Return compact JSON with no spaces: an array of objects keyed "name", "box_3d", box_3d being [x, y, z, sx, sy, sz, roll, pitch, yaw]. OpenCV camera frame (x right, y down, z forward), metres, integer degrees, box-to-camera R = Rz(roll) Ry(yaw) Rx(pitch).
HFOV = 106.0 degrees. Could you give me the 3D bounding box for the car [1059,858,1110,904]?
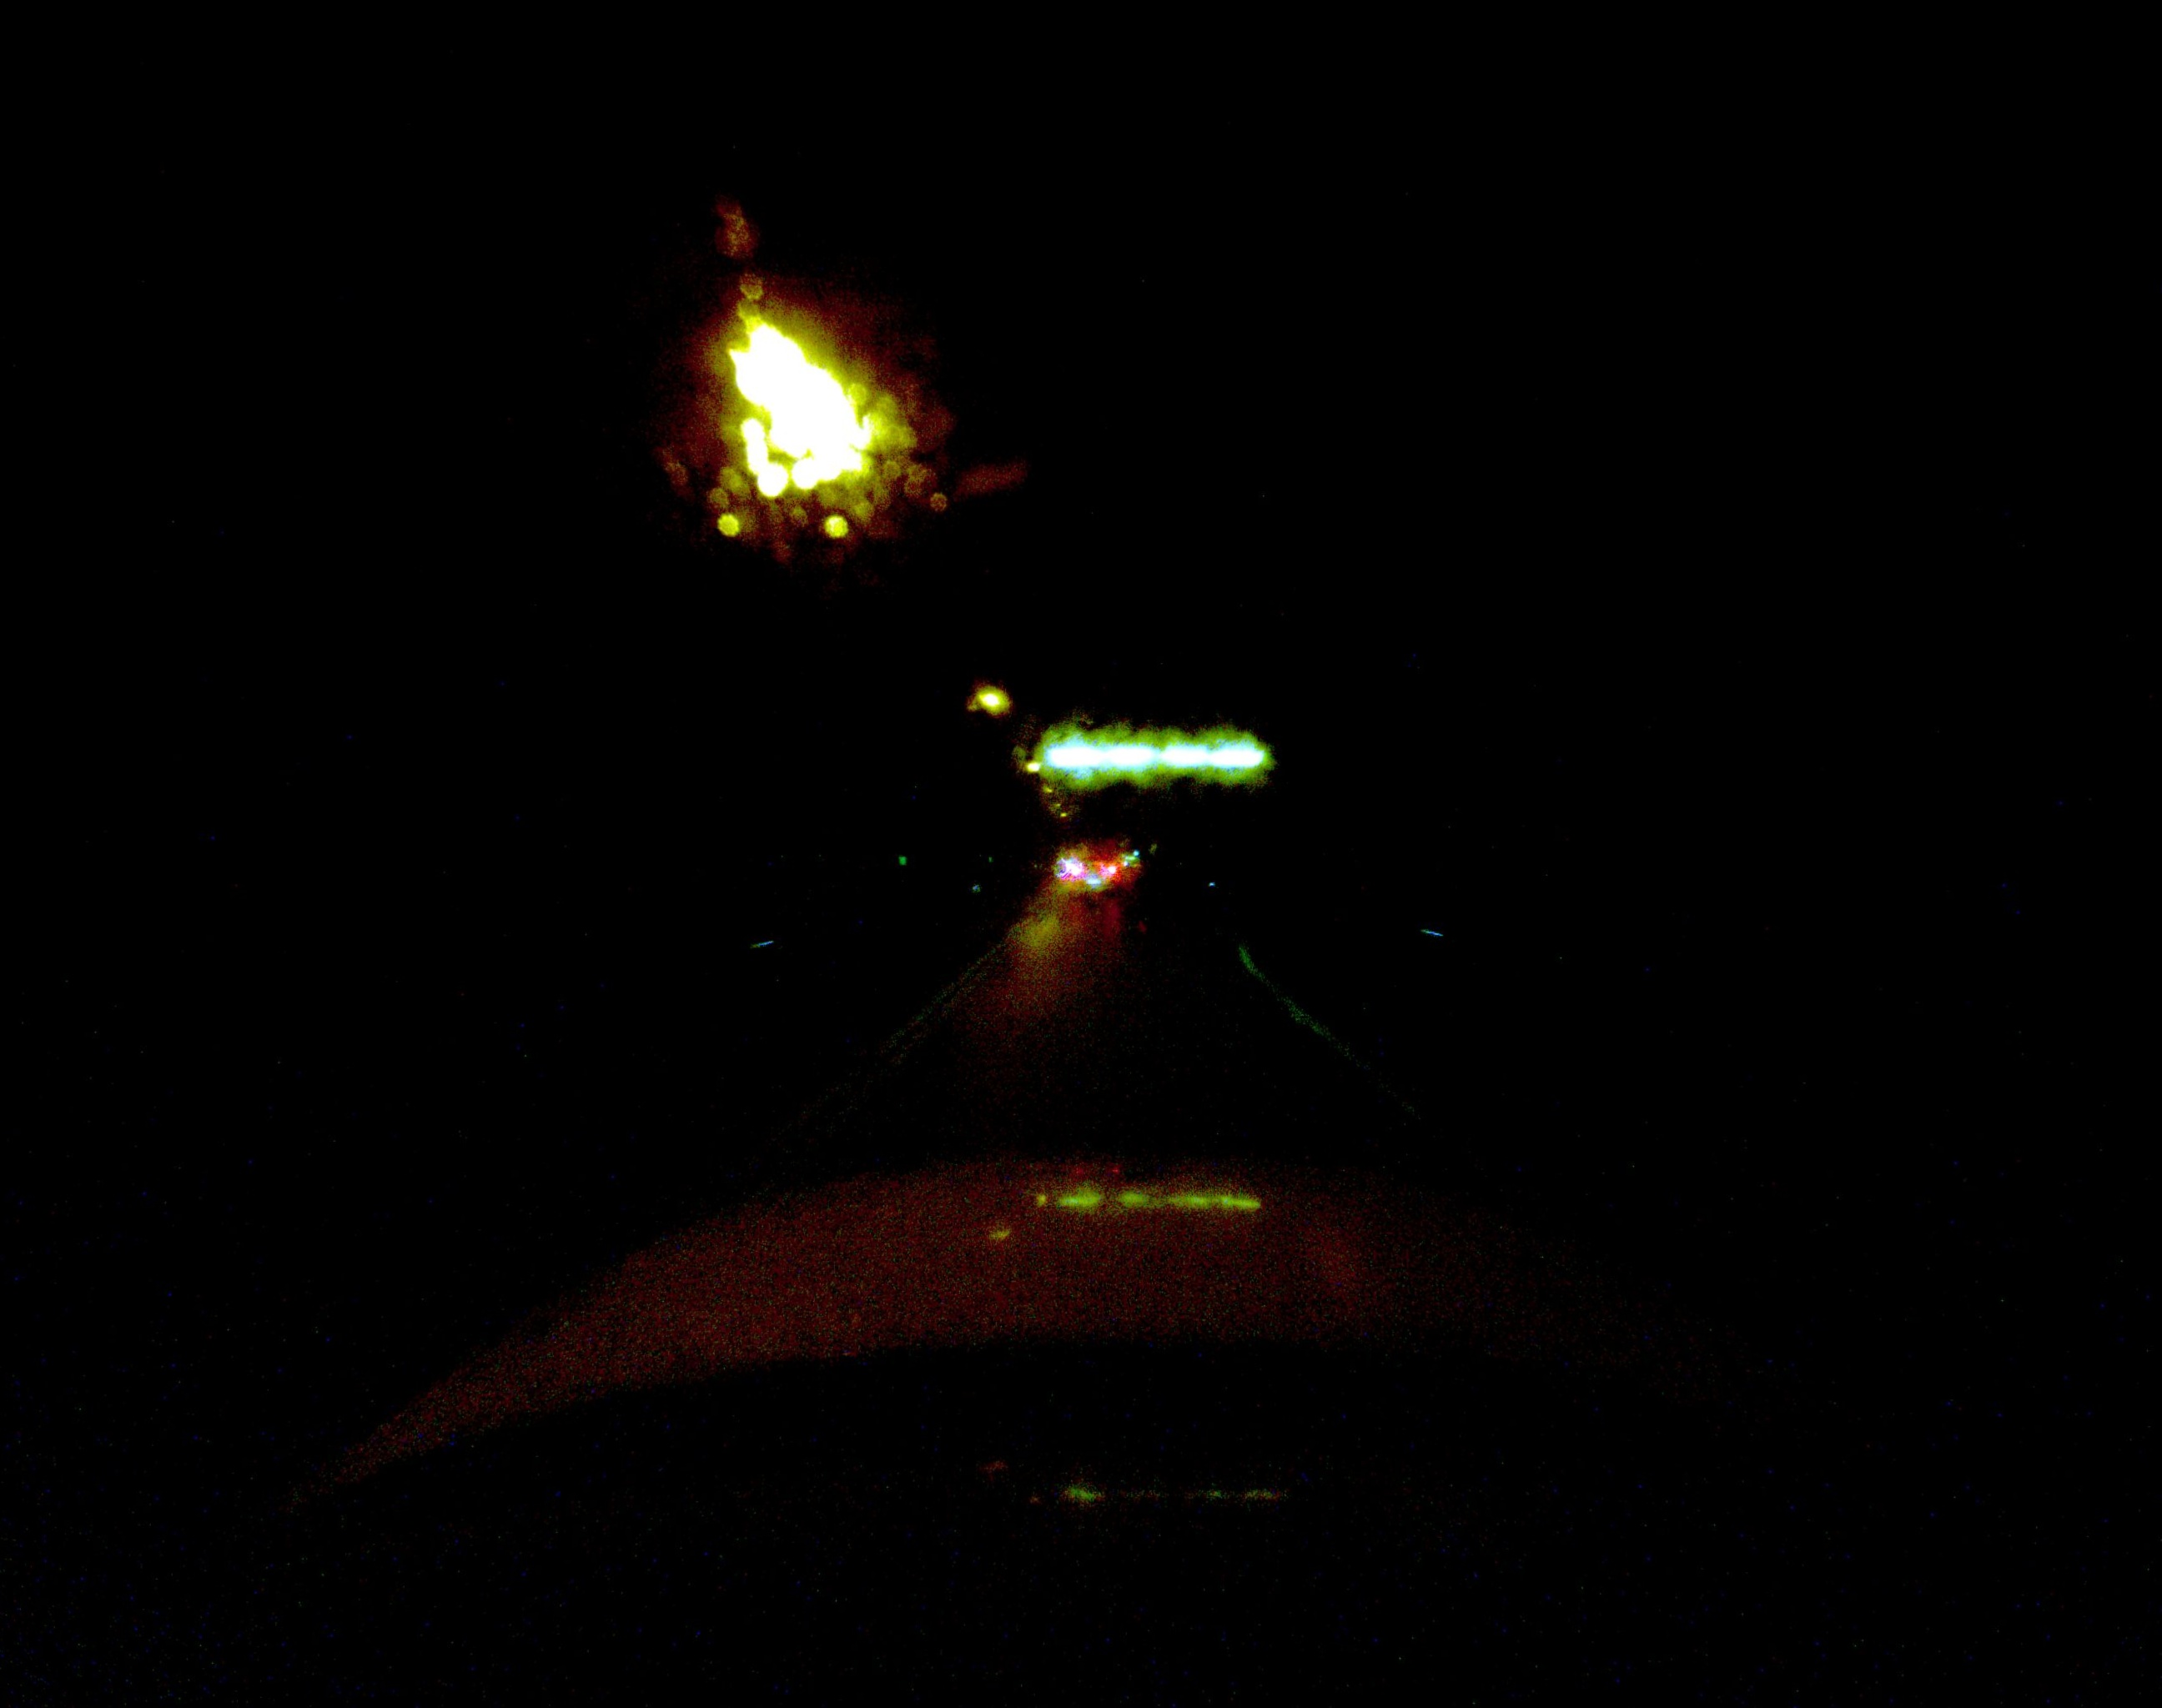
[{"name":"car","box_3d":[0.190,1.001,31.164,1.802,1.622,4.002,0,-1,2]}]
